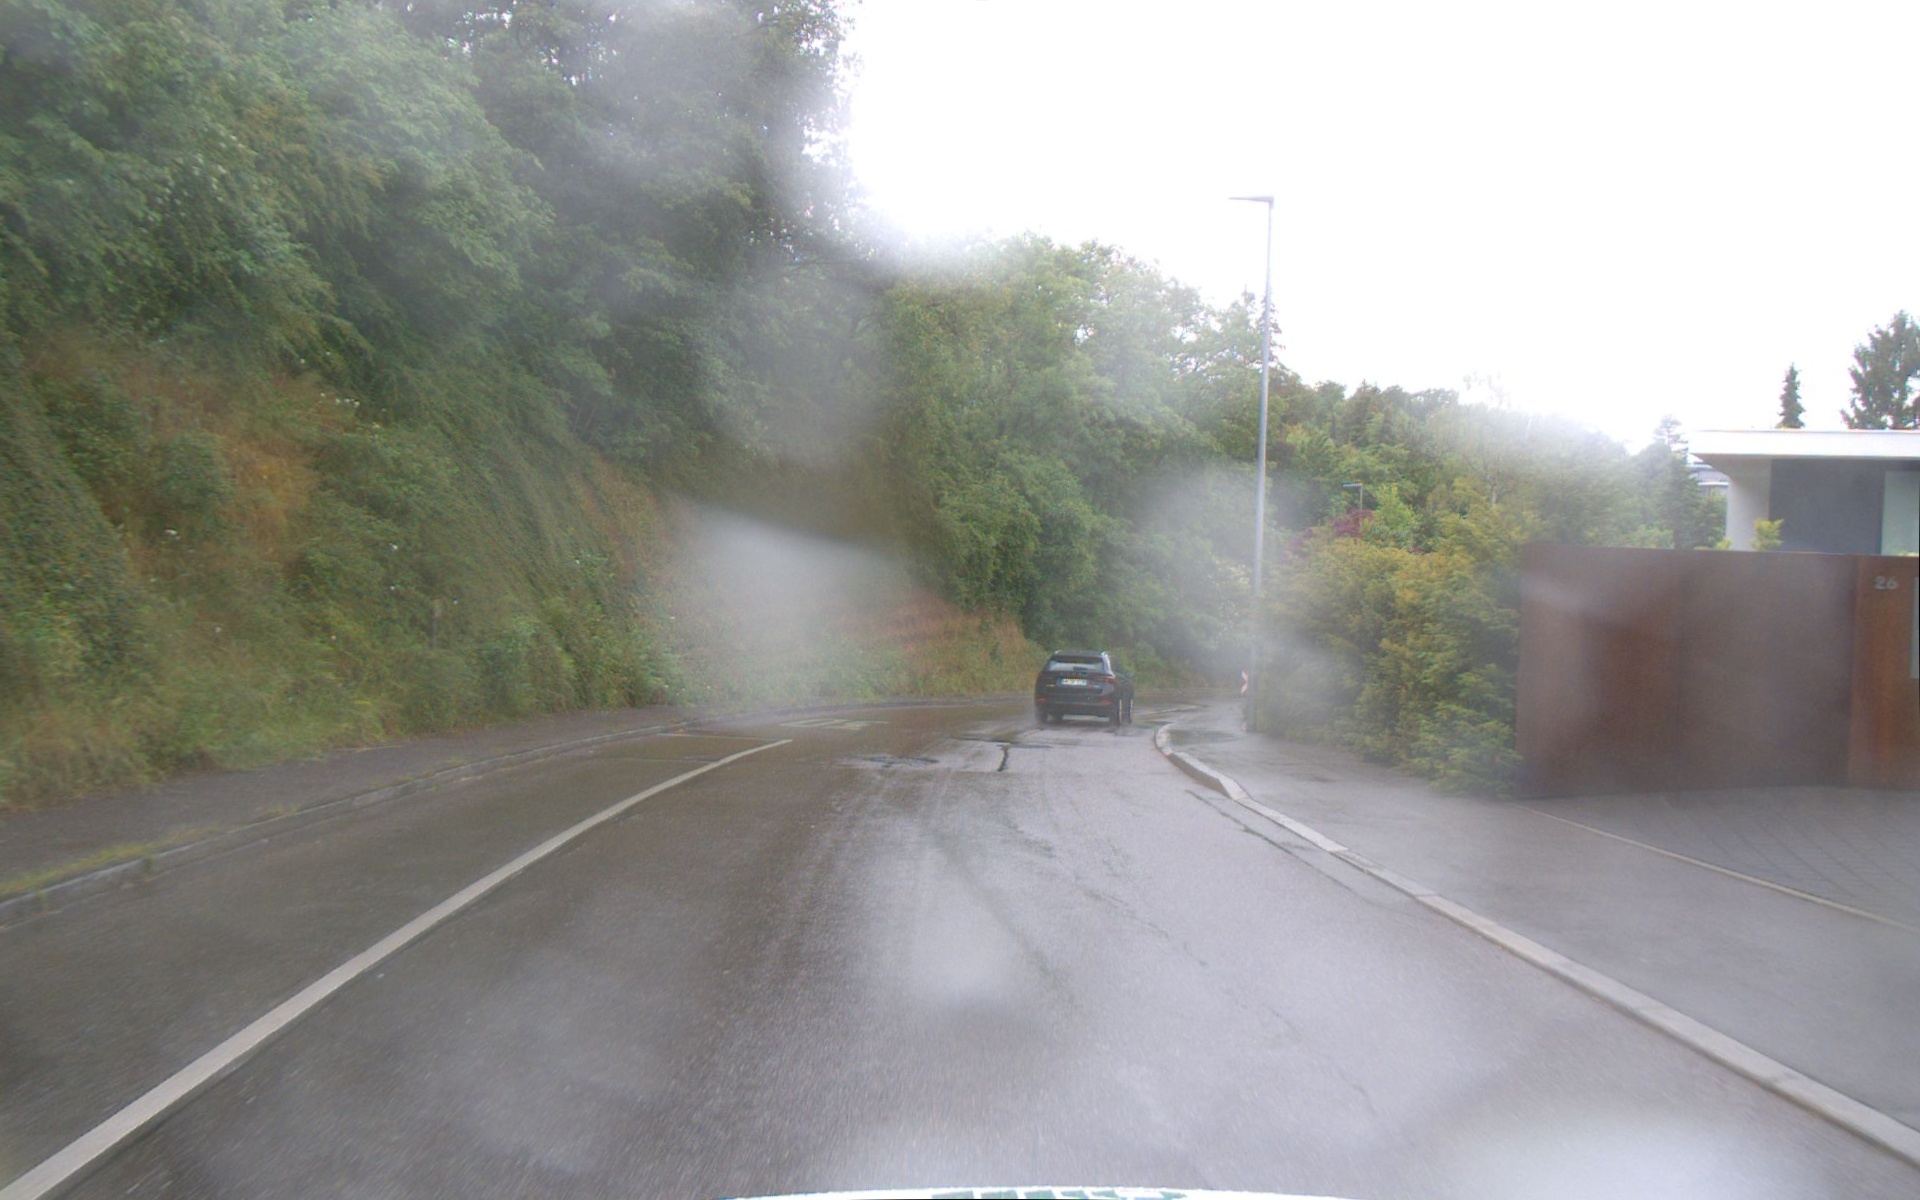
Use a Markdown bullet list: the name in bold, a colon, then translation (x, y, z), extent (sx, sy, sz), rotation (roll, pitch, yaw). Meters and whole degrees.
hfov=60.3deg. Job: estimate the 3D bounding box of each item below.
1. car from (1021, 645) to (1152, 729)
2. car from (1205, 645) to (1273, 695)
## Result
- **car**: translation (2.658, 1.762, 33.891), extent (1.829, 1.539, 4.094), rotation (2, -2, 16)
- **car**: translation (11.335, 2.786, 66.947), extent (1.952, 1.633, 4.411), rotation (2, 2, 20)
